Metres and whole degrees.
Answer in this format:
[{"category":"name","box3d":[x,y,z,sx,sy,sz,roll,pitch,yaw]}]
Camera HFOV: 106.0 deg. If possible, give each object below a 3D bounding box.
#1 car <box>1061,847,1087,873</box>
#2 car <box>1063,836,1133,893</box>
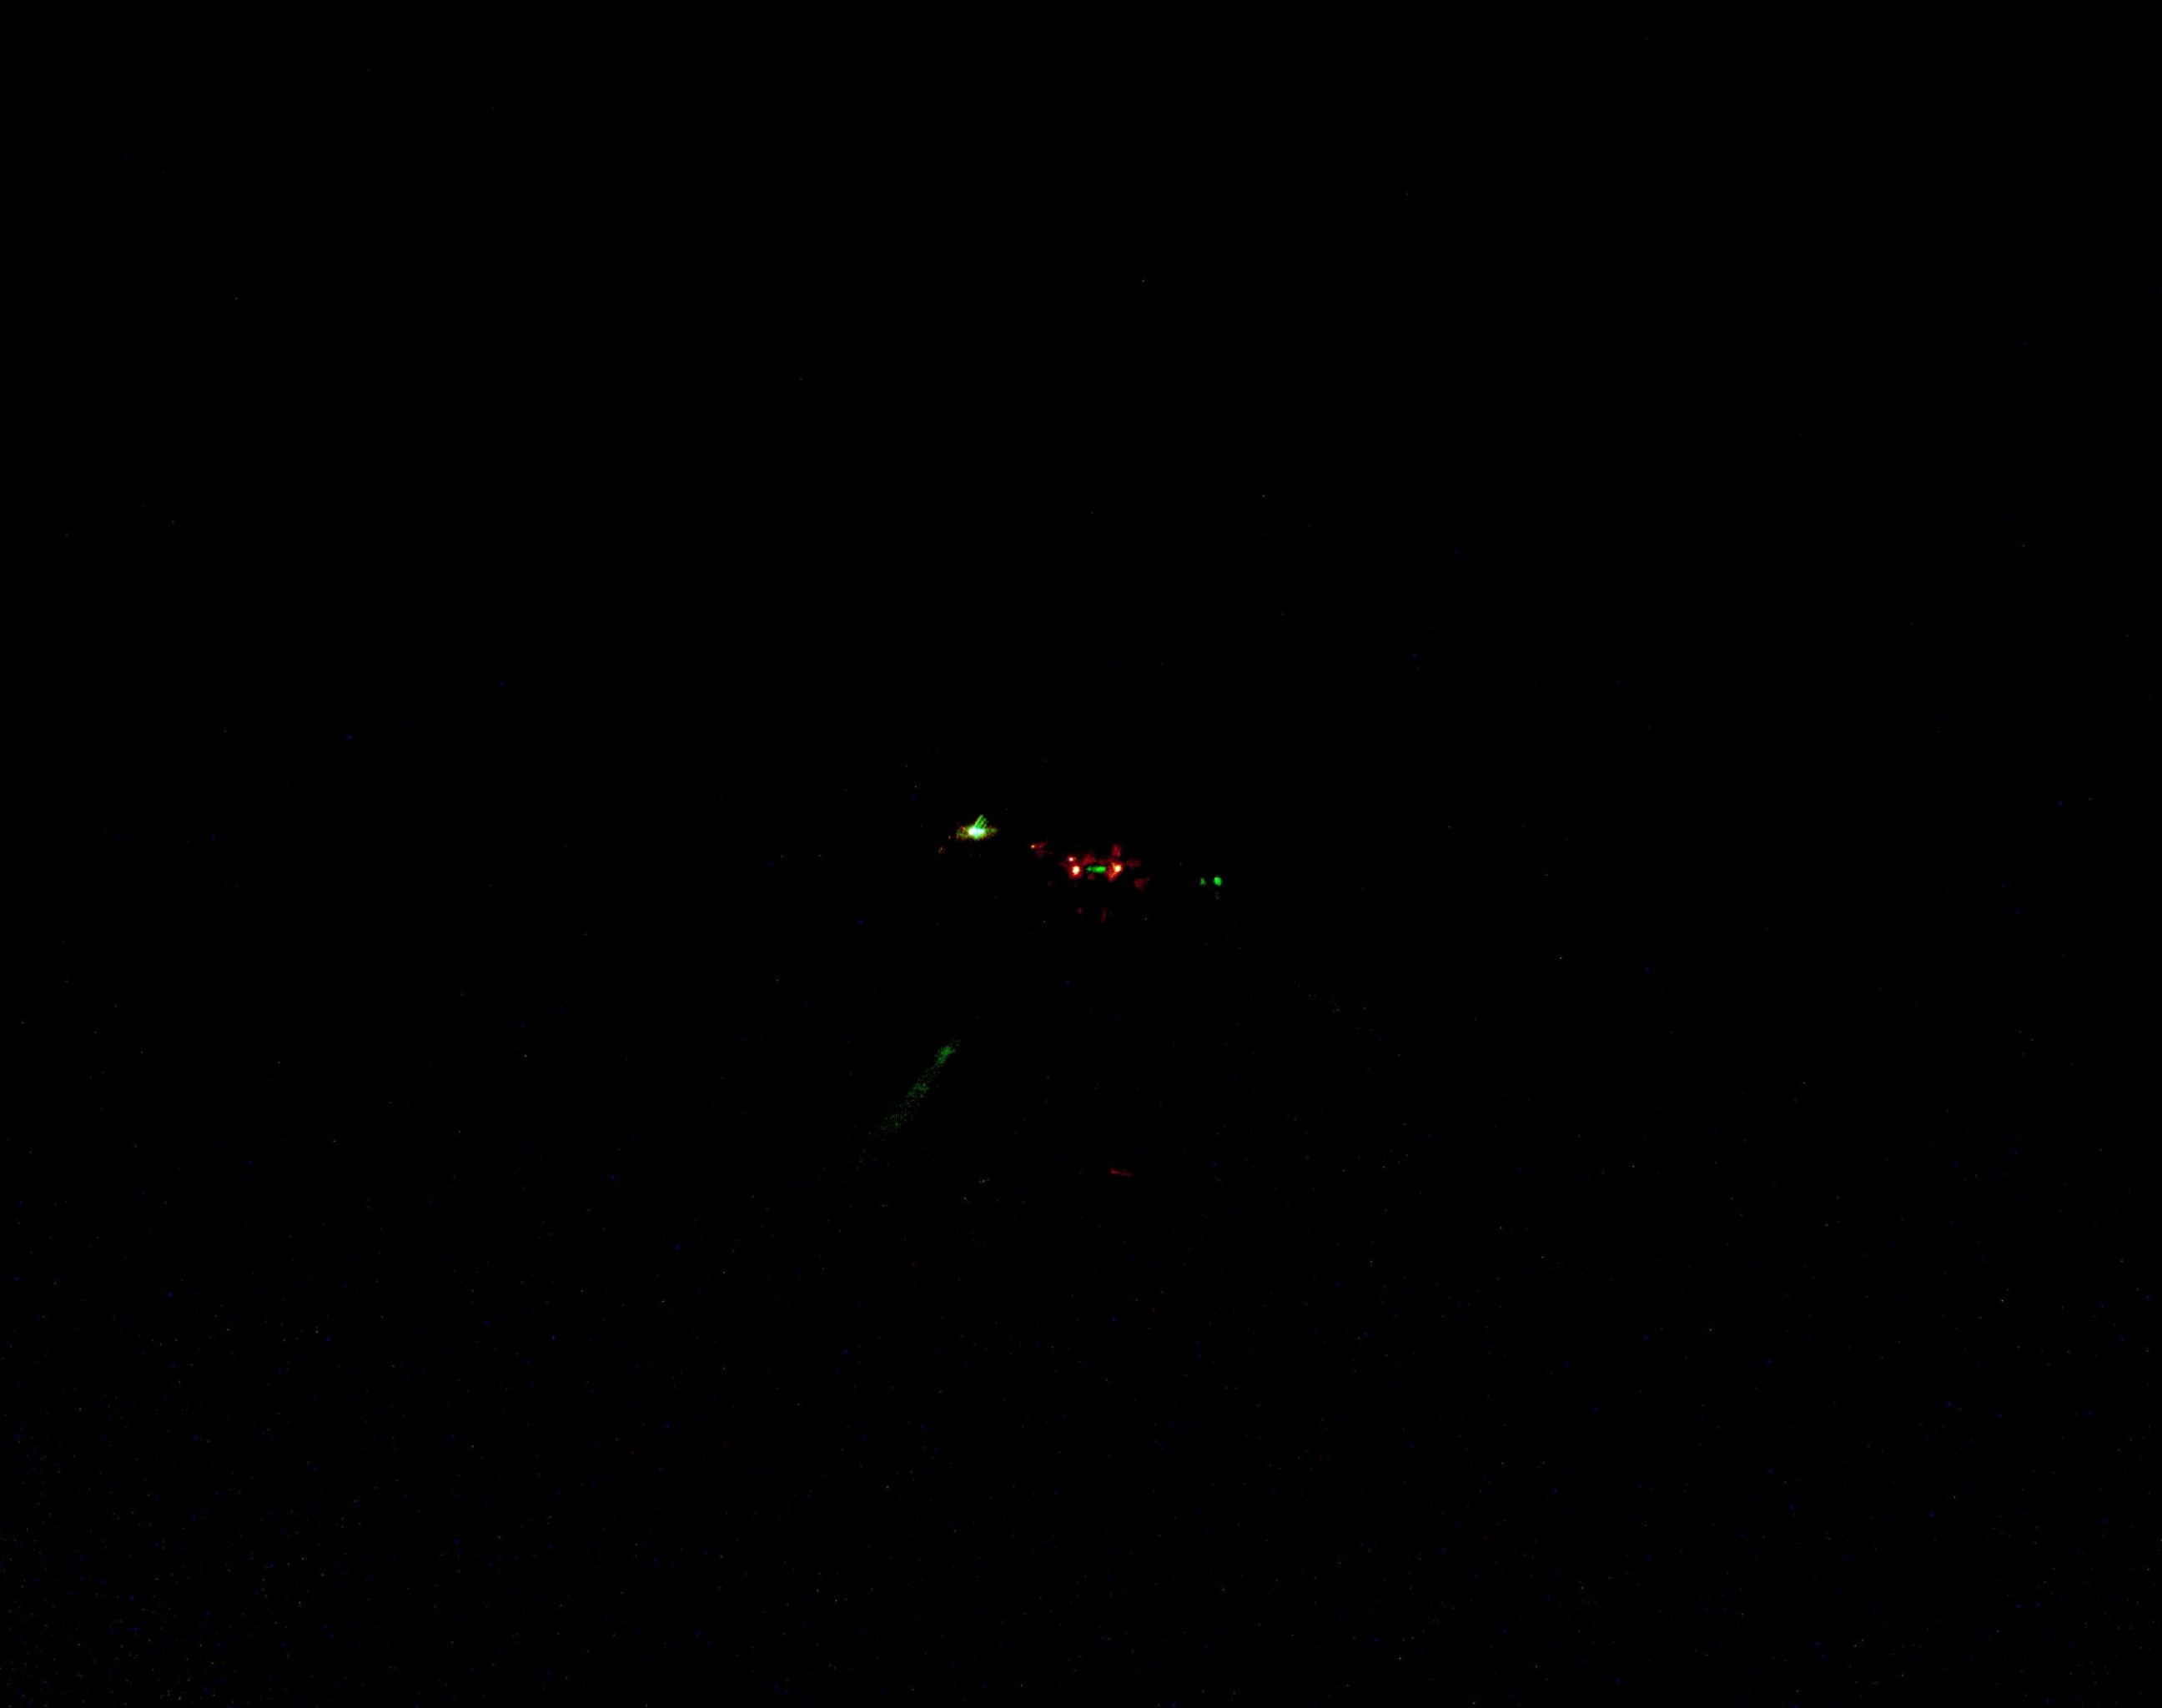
[{"category":"car","box3d":[-0.614,0.508,67.998,1.988,2.013,3.997,-3,0,-2]},{"category":"car","box3d":[0.673,0.382,31.767,2.449,1.958,4.913,-2,0,1]}]
